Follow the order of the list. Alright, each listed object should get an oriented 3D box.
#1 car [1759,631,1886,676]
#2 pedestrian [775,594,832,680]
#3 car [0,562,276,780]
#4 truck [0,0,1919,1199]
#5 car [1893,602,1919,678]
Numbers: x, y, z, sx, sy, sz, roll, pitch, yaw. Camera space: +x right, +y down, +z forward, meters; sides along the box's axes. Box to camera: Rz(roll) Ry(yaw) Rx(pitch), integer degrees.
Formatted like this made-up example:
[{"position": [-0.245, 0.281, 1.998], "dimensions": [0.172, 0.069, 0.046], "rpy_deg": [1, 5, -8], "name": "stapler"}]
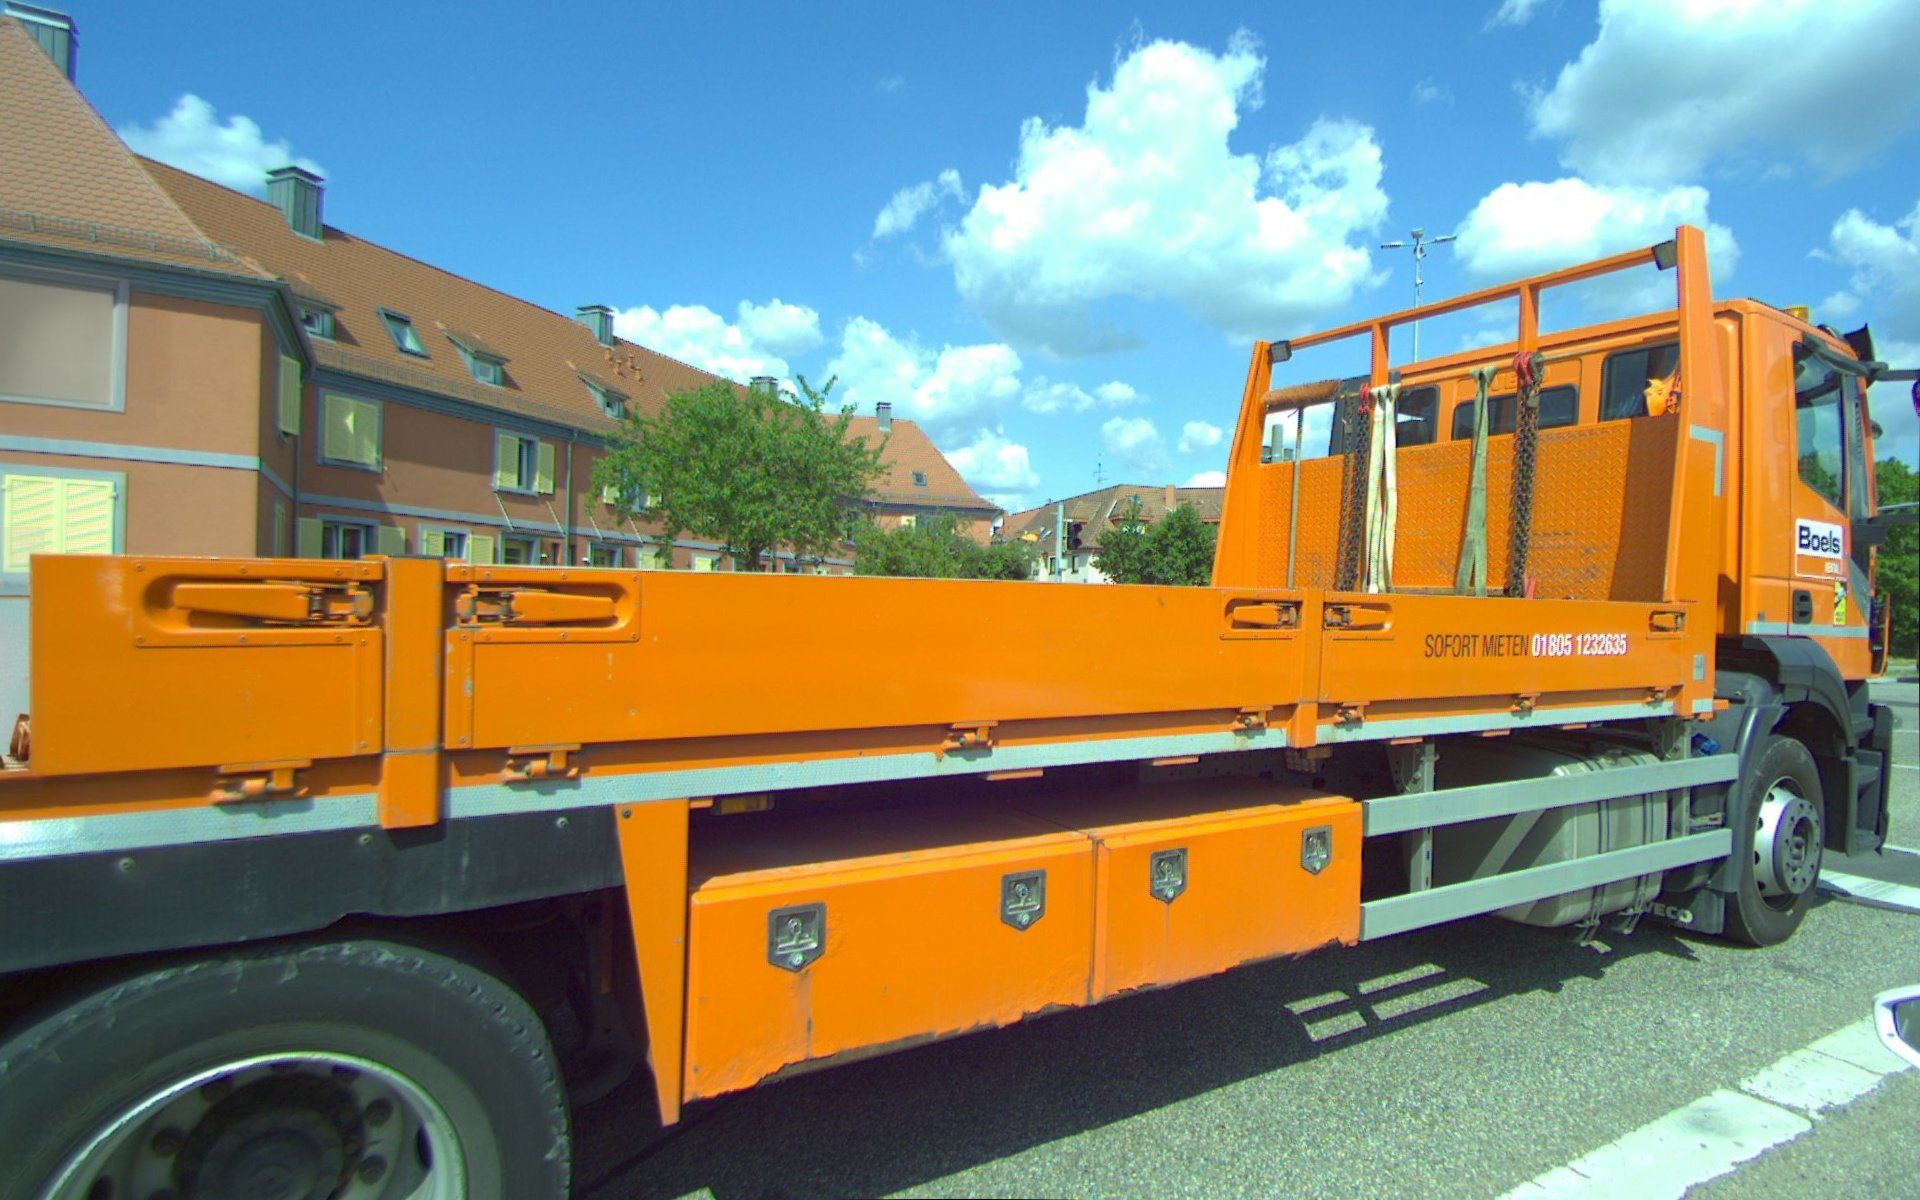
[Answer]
[{"position": [35.250, 2.167, 41.092], "dimensions": [3.932, 1.550, 1.994], "rpy_deg": [3, 1, -14], "name": "car"}, {"position": [-3.065, 0.712, 19.601], "dimensions": [0.842, 1.604, 0.692], "rpy_deg": [2, 1, -32], "name": "pedestrian"}, {"position": [-8.242, 0.556, 8.470], "dimensions": [3.955, 1.711, 1.785], "rpy_deg": [1, -1, -32], "name": "car"}, {"position": [-0.531, -0.368, 3.338], "dimensions": [10.944, 3.459, 3.054], "rpy_deg": [2, 1, -32], "name": "truck"}, {"position": [34.702, 1.470, 34.242], "dimensions": [5.889, 2.504, 2.166], "rpy_deg": [2, 1, -26], "name": "car"}]
